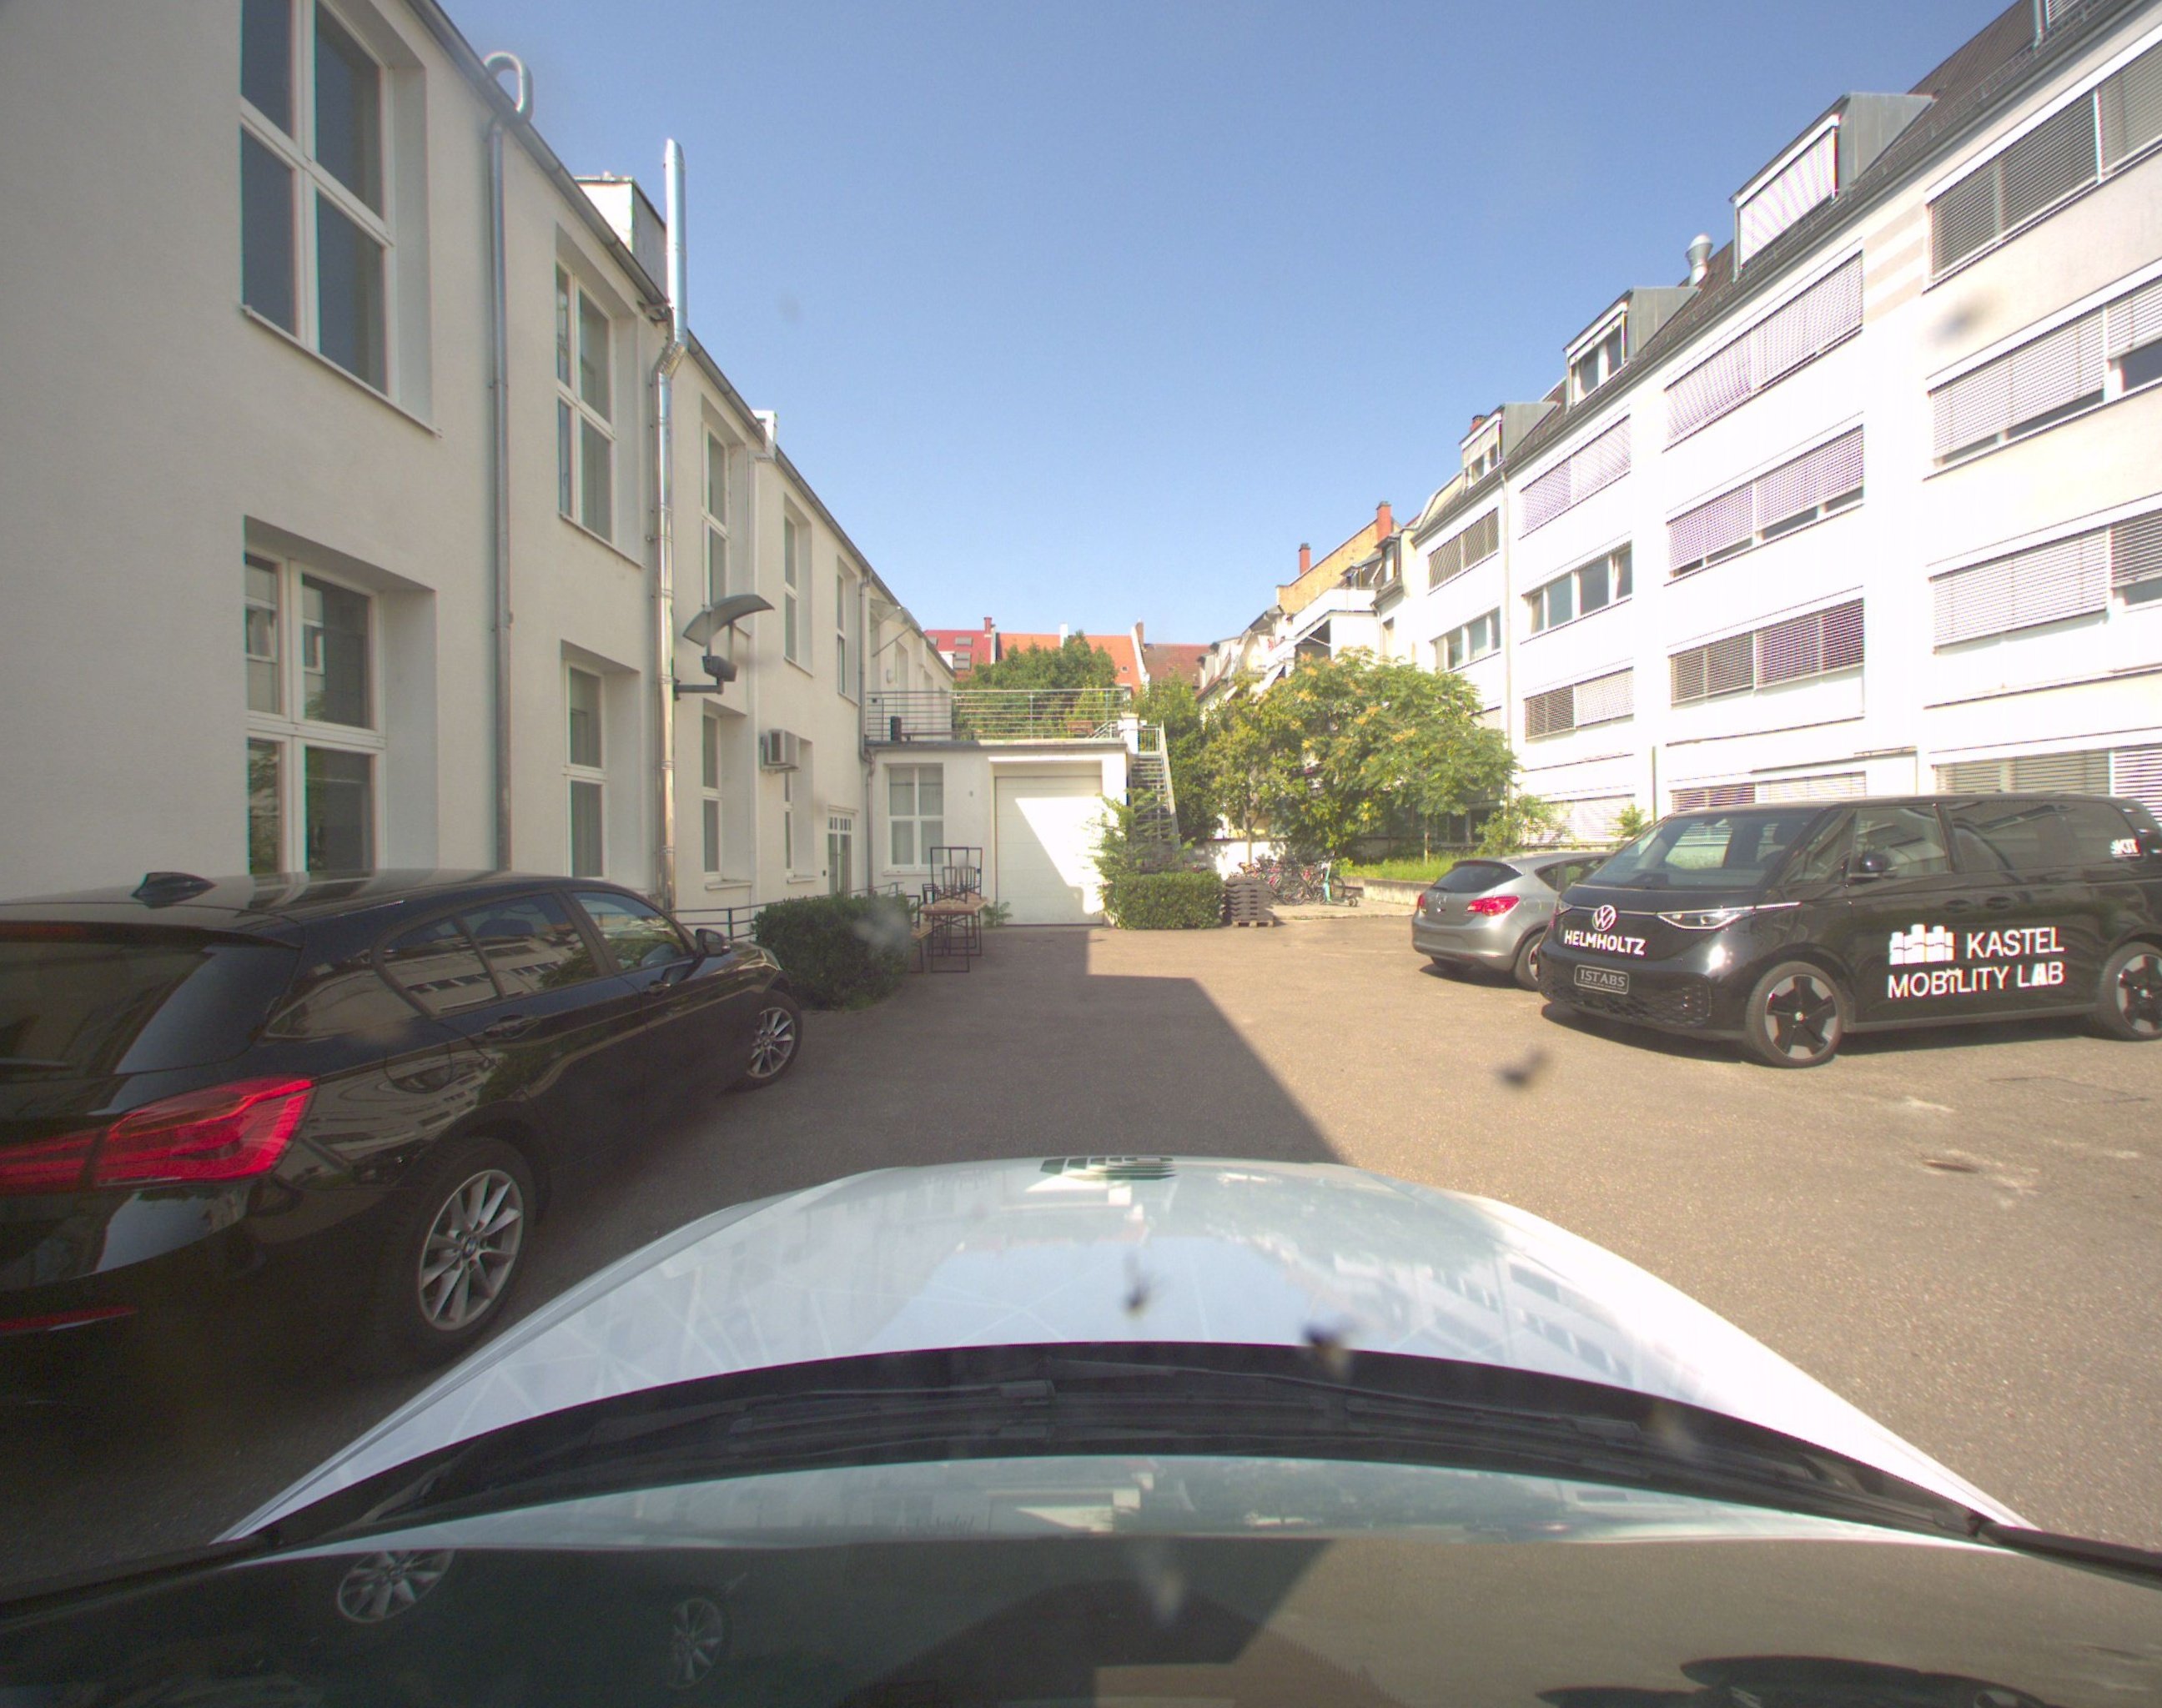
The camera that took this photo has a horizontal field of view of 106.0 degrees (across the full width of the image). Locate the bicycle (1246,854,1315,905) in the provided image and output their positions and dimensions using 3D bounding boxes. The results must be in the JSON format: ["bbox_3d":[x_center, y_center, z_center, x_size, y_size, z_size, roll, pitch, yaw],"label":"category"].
[{"bbox_3d":[5.023,0.639,20.522,1.617,1.214,0.327,-2,0,2],"label":"bicycle"}]

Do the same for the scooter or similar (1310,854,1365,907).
[{"bbox_3d":[6.276,0.632,19.951,0.381,1.261,1.335,-1,0,-31],"label":"scooter or similar"}]

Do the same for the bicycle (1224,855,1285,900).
[{"bbox_3d":[4.886,0.655,22.943,1.620,1.214,0.423,-2,0,-5],"label":"bicycle"}]

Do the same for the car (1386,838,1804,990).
[{"bbox_3d":[5.850,0.616,9.506,3.931,1.482,1.769,-1,-1,-9],"label":"car"}]

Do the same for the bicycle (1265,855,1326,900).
[{"bbox_3d":[5.942,0.645,22.600,1.612,1.214,0.425,-2,0,13],"label":"bicycle"}]

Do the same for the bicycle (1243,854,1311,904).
[{"bbox_3d":[4.998,0.641,20.816,1.617,1.214,0.327,-2,0,2],"label":"bicycle"}]

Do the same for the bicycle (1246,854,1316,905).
[{"bbox_3d":[4.952,0.637,20.201,1.617,1.214,0.327,-2,0,2],"label":"bicycle"}]

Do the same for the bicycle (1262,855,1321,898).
[{"bbox_3d":[6.101,0.650,23.626,1.612,1.214,0.425,-2,0,13],"label":"bicycle"}]

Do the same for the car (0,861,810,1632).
[{"bbox_3d":[-2.651,0.771,3.505,1.683,1.459,3.921,0,0,-1],"label":"car"}]

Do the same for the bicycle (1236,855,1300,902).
[{"bbox_3d":[4.969,0.646,21.631,1.611,1.214,0.328,-2,0,13],"label":"bicycle"}]

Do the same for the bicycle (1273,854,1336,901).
[{"bbox_3d":[6.028,0.641,22.024,1.611,1.214,0.425,-2,0,13],"label":"bicycle"}]

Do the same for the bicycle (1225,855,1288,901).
[{"bbox_3d":[4.792,0.652,22.309,1.618,1.214,0.424,-2,0,-1],"label":"bicycle"}]

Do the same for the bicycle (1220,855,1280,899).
[{"bbox_3d":[4.891,0.658,23.545,1.620,1.214,0.423,-2,0,-5],"label":"bicycle"}]

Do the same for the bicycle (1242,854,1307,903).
[{"bbox_3d":[5.041,0.643,21.267,1.613,1.214,0.328,-2,0,10],"label":"bicycle"}]

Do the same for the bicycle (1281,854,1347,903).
[{"bbox_3d":[6.040,0.635,21.163,1.611,1.214,0.328,-2,0,15],"label":"bicycle"}]

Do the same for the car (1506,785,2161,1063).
[{"bbox_3d":[6.135,0.437,6.621,4.499,1.794,1.877,-1,-1,-9],"label":"car"}]
